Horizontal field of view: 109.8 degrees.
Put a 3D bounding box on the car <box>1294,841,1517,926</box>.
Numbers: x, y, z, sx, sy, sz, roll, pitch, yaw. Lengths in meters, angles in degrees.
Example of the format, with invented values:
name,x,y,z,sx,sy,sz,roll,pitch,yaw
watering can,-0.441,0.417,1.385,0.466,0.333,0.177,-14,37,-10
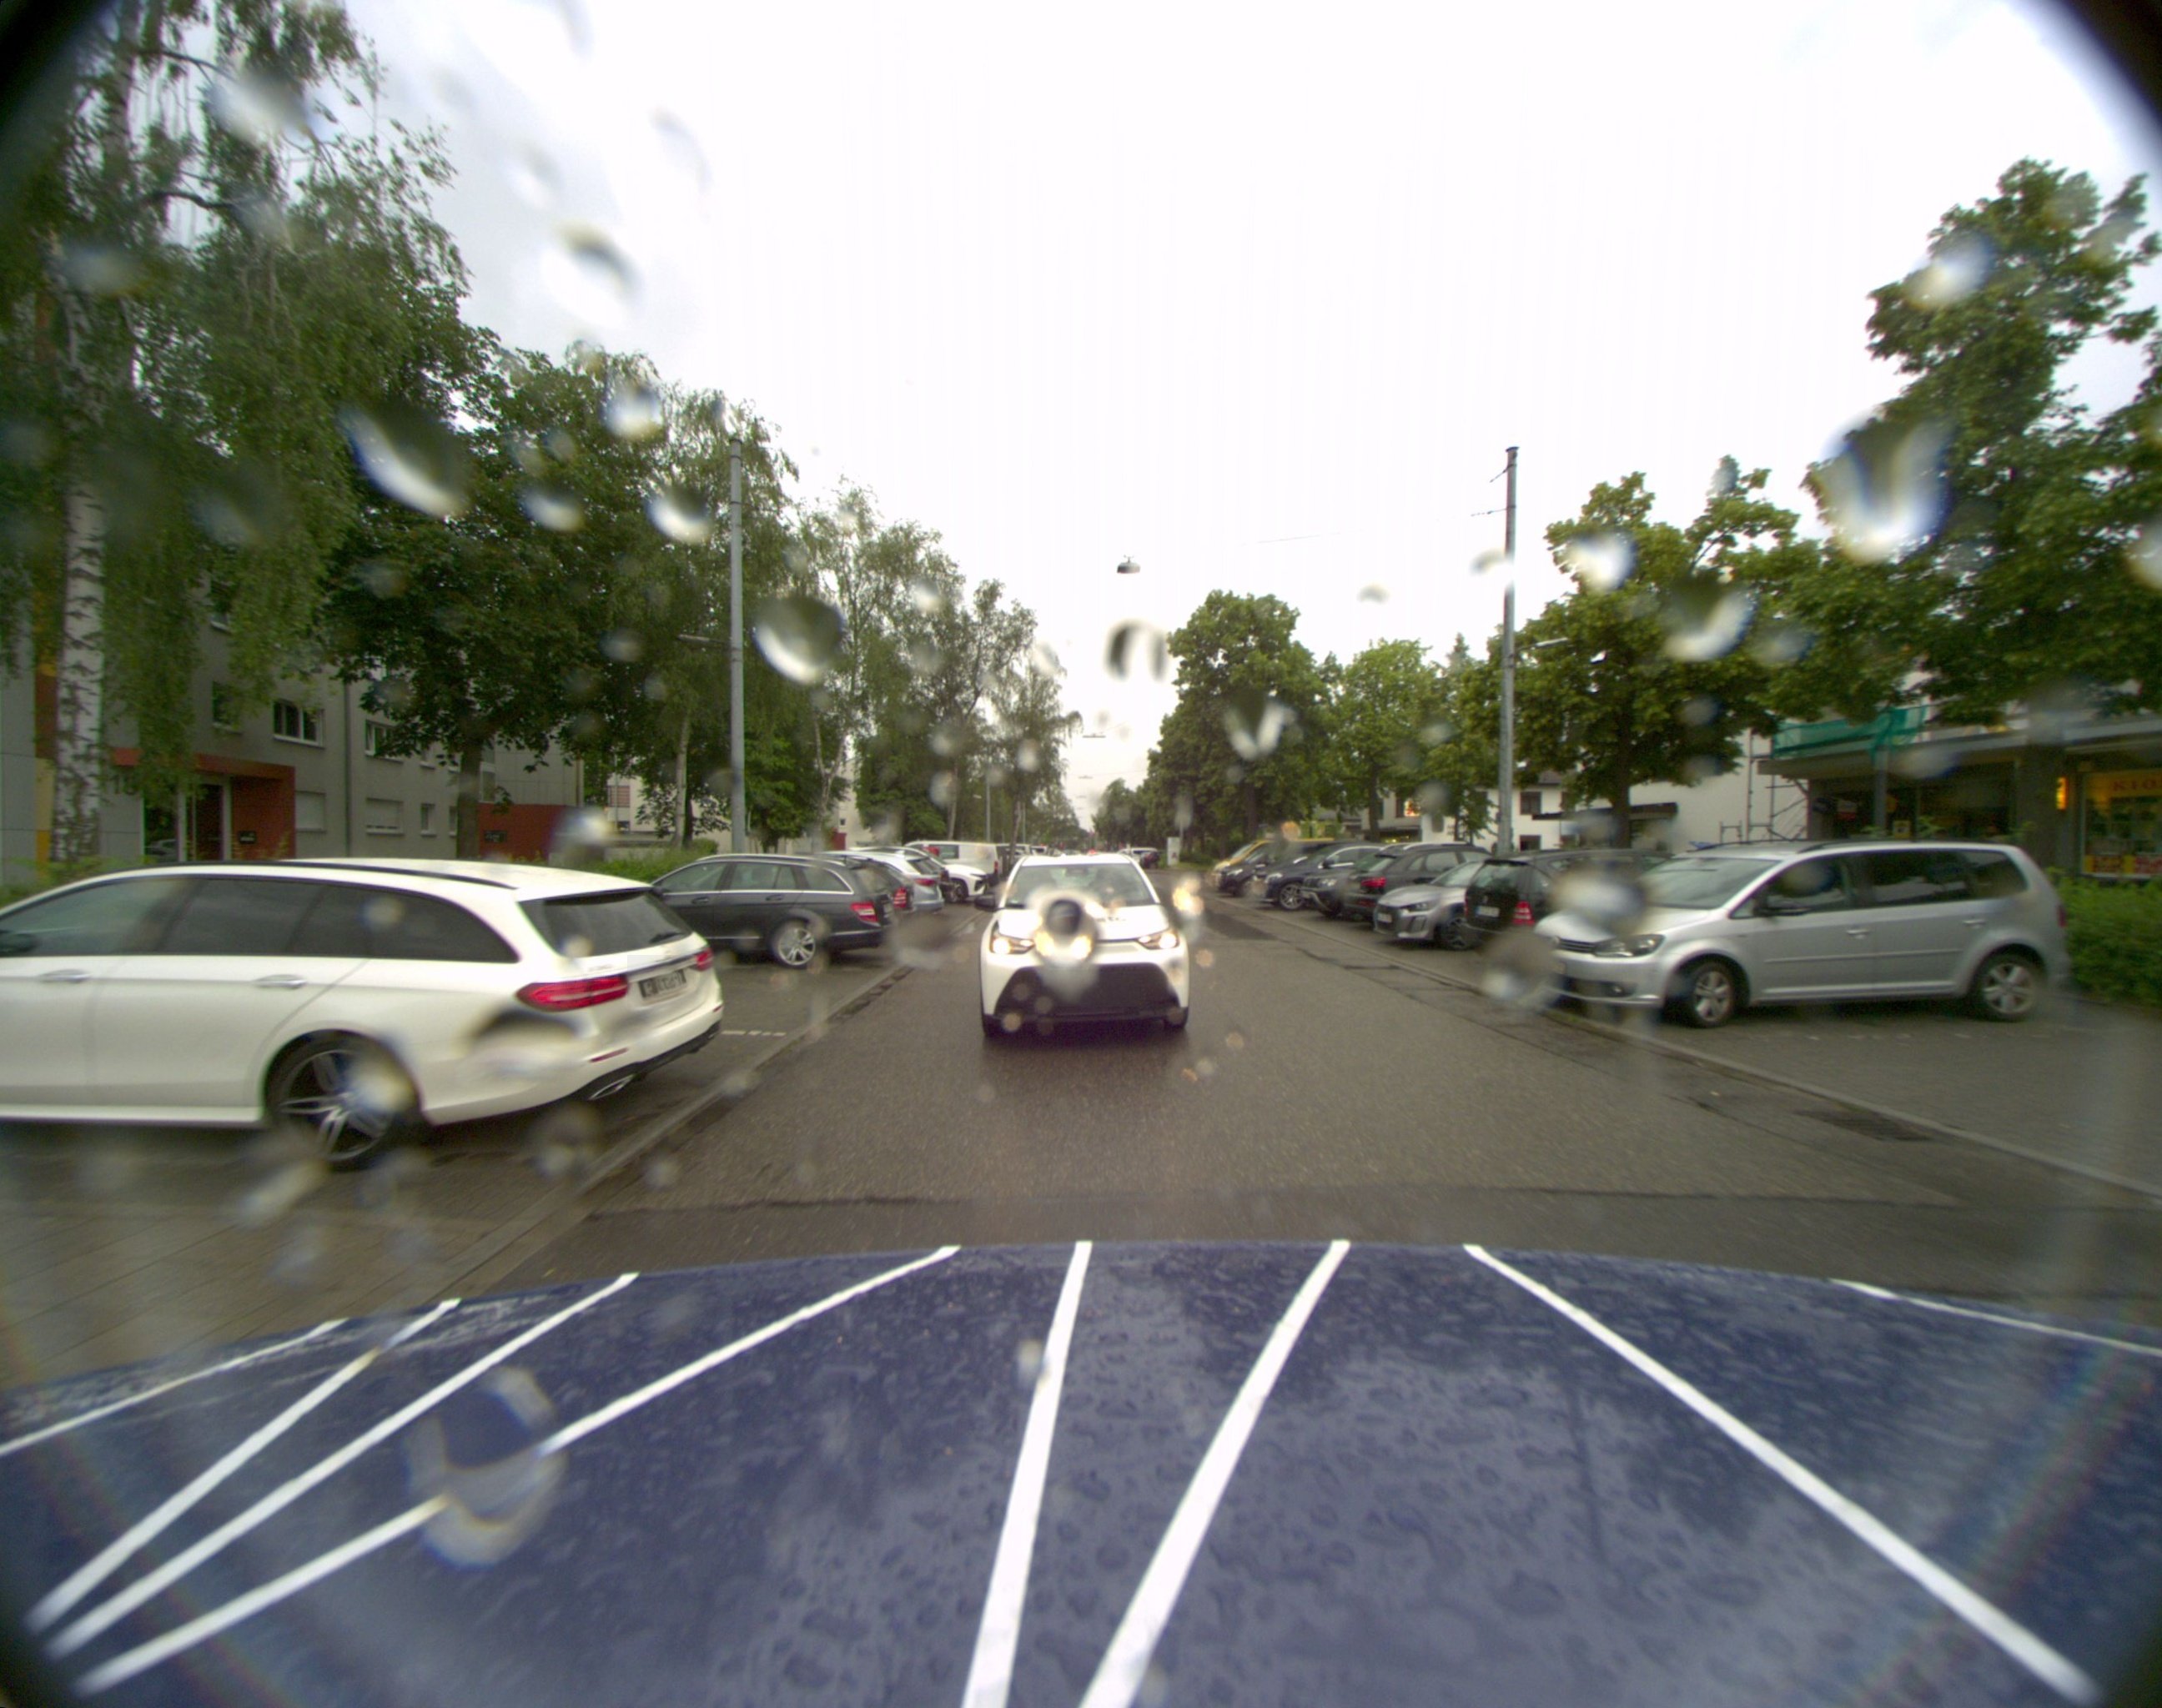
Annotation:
name,x,y,z,sx,sy,sz,roll,pitch,yaw
car,7.178,0.617,17.076,4.283,1.717,1.715,-1,1,-2

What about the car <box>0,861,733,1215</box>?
name,x,y,z,sx,sy,sz,roll,pitch,yaw
car,-4.712,0.869,4.356,4.623,1.431,1.680,2,1,0

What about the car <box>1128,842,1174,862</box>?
name,x,y,z,sx,sy,sz,roll,pitch,yaw
car,6.556,-0.171,70.986,3.998,1.675,1.999,-2,1,-3

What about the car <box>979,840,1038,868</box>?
name,x,y,z,sx,sy,sz,roll,pitch,yaw
car,-5.342,-0.043,56.429,3.995,1.903,1.902,-2,1,5

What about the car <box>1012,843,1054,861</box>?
name,x,y,z,sx,sy,sz,roll,pitch,yaw
car,-4.855,-0.255,77.256,3.995,1.670,1.902,-2,1,5

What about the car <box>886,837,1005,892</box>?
name,x,y,z,sx,sy,sz,roll,pitch,yaw
car,-5.004,0.383,28.448,4.182,1.856,1.679,2,1,-6

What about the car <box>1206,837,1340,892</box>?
name,x,y,z,sx,sy,sz,roll,pitch,yaw
car,7.297,0.387,29.153,4.656,1.947,1.715,-1,1,-2

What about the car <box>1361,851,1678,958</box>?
name,x,y,z,sx,sy,sz,roll,pitch,yaw
car,7.079,0.769,12.539,4.283,1.523,1.715,-1,1,-2

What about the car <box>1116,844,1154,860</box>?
name,x,y,z,sx,sy,sz,roll,pitch,yaw
car,6.109,-0.272,85.994,3.998,1.675,1.999,-2,1,-3

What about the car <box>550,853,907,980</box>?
name,x,y,z,sx,sy,sz,roll,pitch,yaw
car,-4.596,0.791,10.377,4.049,1.431,1.680,2,1,-3

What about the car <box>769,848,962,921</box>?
name,x,y,z,sx,sy,sz,roll,pitch,yaw
car,-4.944,0.679,17.864,4.049,1.488,1.680,2,1,-3

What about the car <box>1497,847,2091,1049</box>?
name,x,y,z,sx,sy,sz,roll,pitch,yaw
car,6.665,0.800,7.432,4.283,1.625,1.715,-1,1,-2

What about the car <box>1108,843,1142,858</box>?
name,x,y,z,sx,sy,sz,roll,pitch,yaw
car,5.579,-0.445,96.657,3.998,1.675,1.999,-2,1,-3

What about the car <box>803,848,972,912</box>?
name,x,y,z,sx,sy,sz,roll,pitch,yaw
car,-5.045,0.662,20.180,4.049,1.488,1.680,2,1,-3

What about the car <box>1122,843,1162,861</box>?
name,x,y,z,sx,sy,sz,roll,pitch,yaw
car,6.457,-0.224,80.990,3.998,1.675,1.999,-2,1,-3

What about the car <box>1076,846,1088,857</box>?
name,x,y,z,sx,sy,sz,roll,pitch,yaw
car,0.210,-0.496,133.975,1.998,1.804,3.999,-2,1,1

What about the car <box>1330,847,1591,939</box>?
name,x,y,z,sx,sy,sz,roll,pitch,yaw
car,7.334,0.709,14.925,4.283,1.586,1.715,-1,1,-2

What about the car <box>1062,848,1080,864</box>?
name,x,y,z,sx,sy,sz,roll,pitch,yaw
car,-1.187,0.279,93.788,1.998,1.804,3.999,-2,1,1

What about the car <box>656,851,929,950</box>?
name,x,y,z,sx,sy,sz,roll,pitch,yaw
car,-4.815,0.759,13.124,4.049,1.431,1.680,2,1,-3

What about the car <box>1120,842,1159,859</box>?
name,x,y,z,sx,sy,sz,roll,pitch,yaw
car,6.429,-0.394,83.562,3.998,1.675,1.999,-2,1,-3

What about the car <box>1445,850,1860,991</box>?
name,x,y,z,sx,sy,sz,roll,pitch,yaw
car,7.324,0.792,10.004,4.283,1.557,1.635,-2,1,-2

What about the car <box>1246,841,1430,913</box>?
name,x,y,z,sx,sy,sz,roll,pitch,yaw
car,6.741,0.566,20.165,4.283,1.717,1.715,-1,1,-2

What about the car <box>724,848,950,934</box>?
name,x,y,z,sx,sy,sz,roll,pitch,yaw
car,-4.834,0.718,15.479,4.049,1.488,1.680,2,1,-3

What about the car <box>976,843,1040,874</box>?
name,x,y,z,sx,sy,sz,roll,pitch,yaw
car,-4.911,0.286,51.582,3.995,1.903,1.902,-2,1,5

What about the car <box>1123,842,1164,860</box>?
name,x,y,z,sx,sy,sz,roll,pitch,yaw
car,6.427,-0.302,78.494,3.998,1.675,1.999,-2,1,-3

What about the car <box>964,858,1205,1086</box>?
name,x,y,z,sx,sy,sz,roll,pitch,yaw
car,-0.045,0.882,7.672,1.733,1.519,4.138,-2,1,-2

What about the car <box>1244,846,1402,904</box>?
name,x,y,z,sx,sy,sz,roll,pitch,yaw
car,7.329,0.609,23.267,4.283,1.618,1.715,-1,1,-2

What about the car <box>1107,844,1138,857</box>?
name,x,y,z,sx,sy,sz,roll,pitch,yaw
car,5.593,-0.487,103.855,3.998,1.675,1.999,-2,1,-2

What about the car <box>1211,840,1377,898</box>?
name,x,y,z,sx,sy,sz,roll,pitch,yaw
car,7.225,0.483,26.048,5.177,1.789,1.715,-1,1,-2

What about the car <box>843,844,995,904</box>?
name,x,y,z,sx,sy,sz,roll,pitch,yaw
car,-4.869,0.579,23.195,4.179,1.609,1.680,2,1,1

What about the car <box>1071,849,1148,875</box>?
name,x,y,z,sx,sy,sz,roll,pitch,yaw
car,1.739,0.514,46.923,4.245,1.446,2.004,-1,1,35
